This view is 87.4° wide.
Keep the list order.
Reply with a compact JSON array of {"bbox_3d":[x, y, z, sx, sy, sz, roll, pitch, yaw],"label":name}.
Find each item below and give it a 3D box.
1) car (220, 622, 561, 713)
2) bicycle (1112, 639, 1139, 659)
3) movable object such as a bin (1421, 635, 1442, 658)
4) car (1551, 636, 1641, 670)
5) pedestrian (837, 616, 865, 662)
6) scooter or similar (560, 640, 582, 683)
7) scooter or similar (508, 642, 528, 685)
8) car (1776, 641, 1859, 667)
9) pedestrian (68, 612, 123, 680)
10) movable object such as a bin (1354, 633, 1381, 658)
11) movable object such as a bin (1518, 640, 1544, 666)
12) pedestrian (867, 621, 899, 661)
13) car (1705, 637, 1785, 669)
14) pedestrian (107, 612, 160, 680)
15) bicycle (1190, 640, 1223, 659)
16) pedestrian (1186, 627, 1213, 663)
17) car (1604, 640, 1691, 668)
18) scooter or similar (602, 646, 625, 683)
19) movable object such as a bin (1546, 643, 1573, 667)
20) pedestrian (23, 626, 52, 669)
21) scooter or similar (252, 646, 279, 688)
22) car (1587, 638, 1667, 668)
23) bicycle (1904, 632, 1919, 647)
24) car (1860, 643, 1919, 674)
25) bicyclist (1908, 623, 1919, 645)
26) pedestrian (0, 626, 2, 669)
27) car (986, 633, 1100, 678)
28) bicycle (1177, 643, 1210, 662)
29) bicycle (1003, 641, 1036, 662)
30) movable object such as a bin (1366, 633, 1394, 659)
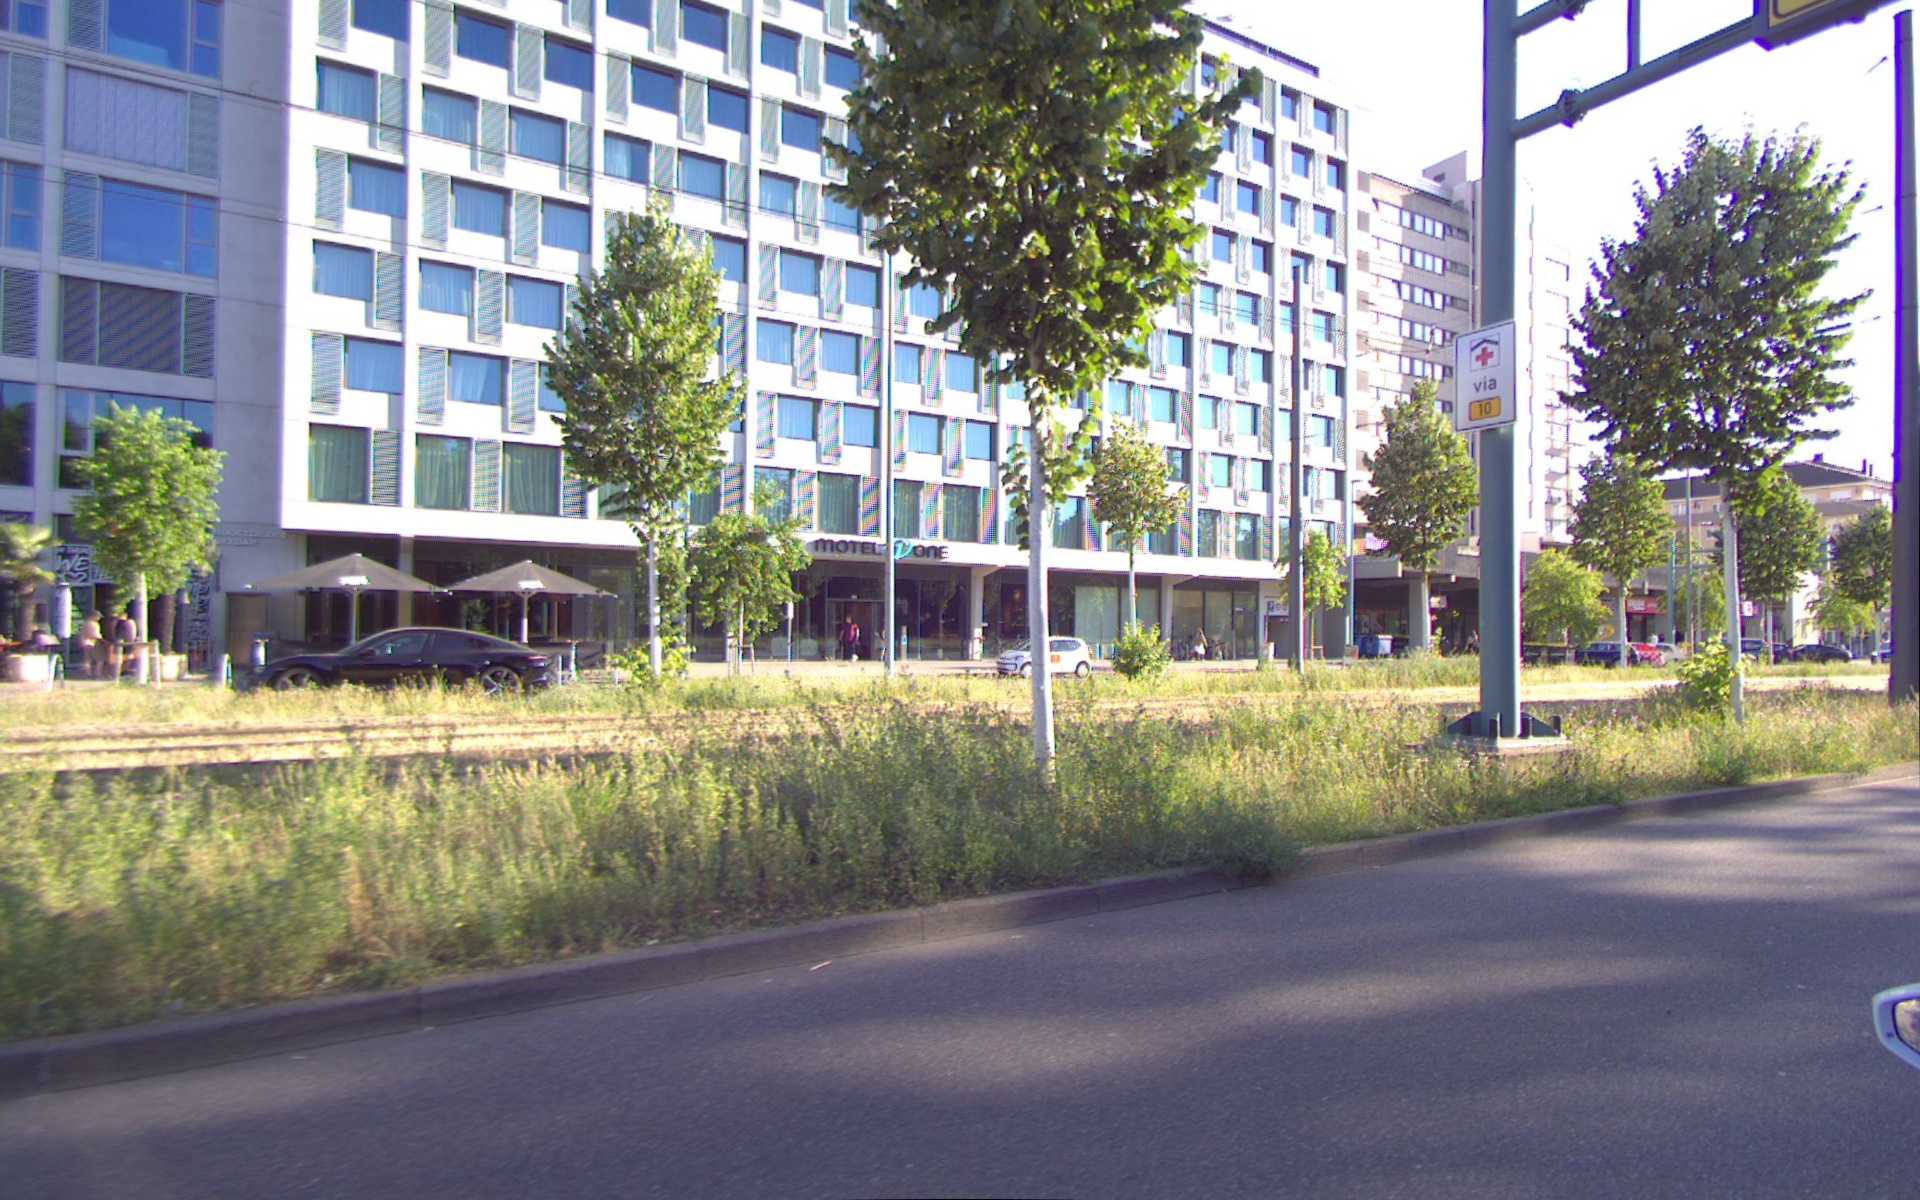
[{"bbox_3d":[-9.514,1.087,17.136,4.795,1.361,1.882,2,-2,-31],"label":"car"},{"bbox_3d":[7.917,2.331,48.119,0.504,0.917,1.802,1,-2,-19],"label":"bicycle"},{"bbox_3d":[28.222,2.789,60.106,0.858,1.389,0.818,1,-2,-30],"label":"movable object such as a bin"},{"bbox_3d":[36.244,2.999,57.340,4.015,1.622,1.750,2,1,20],"label":"car"},{"bbox_3d":[-4.572,1.624,42.317,0.959,1.895,0.973,0,-1,6],"label":"pedestrian"},{"bbox_3d":[-11.263,1.772,29.078,0.401,1.187,1.238,1,-2,-28],"label":"scooter or similar"},{"bbox_3d":[-12.504,1.783,28.413,0.401,1.187,1.238,1,-2,-28],"label":"scooter or similar"},{"bbox_3d":[59.960,3.770,70.336,3.920,1.584,2.000,1,0,19],"label":"car"},{"bbox_3d":[-22.628,1.191,26.313,0.791,1.744,0.868,1,-1,-20],"label":"pedestrian"},{"bbox_3d":[23.881,2.650,58.889,1.386,1.459,0.796,2,-2,-30],"label":"movable object such as a bin"},{"bbox_3d":[31.216,2.889,54.943,0.924,1.375,0.858,1,-2,-16],"label":"movable object such as a bin"},{"bbox_3d":[-3.254,1.726,42.597,1.045,1.692,0.972,1,-1,-28],"label":"pedestrian"},{"bbox_3d":[51.103,3.437,65.491,3.685,1.853,1.825,1,0,20],"label":"car"},{"bbox_3d":[-21.915,1.211,26.645,0.791,1.744,0.868,1,-1,-20],"label":"pedestrian"},{"bbox_3d":[12.493,2.507,51.001,0.506,0.917,1.794,2,-2,-32],"label":"bicycle"},{"bbox_3d":[11.579,2.169,48.537,0.958,1.675,0.840,1,-1,-28],"label":"pedestrian"},{"bbox_3d":[41.538,3.252,60.737,3.919,1.472,1.788,1,0,12],"label":"car"},{"bbox_3d":[-10.130,1.876,29.368,0.429,1.032,1.238,1,-2,-29],"label":"scooter or similar"},{"bbox_3d":[32.162,2.948,53.898,0.924,1.297,0.858,1,-2,-16],"label":"movable object such as a bin"},{"bbox_3d":[-26.673,1.371,29.041,0.491,1.238,0.429,1,-1,-30],"label":"pedestrian"},{"bbox_3d":[-17.611,1.686,25.474,0.401,1.019,1.238,1,-2,-28],"label":"scooter or similar"},{"bbox_3d":[39.213,3.111,59.118,3.554,1.543,1.621,2,0,20],"label":"car"},{"bbox_3d":[69.223,2.887,72.855,1.769,1.053,0.552,2,0,-30],"label":"bicycle"},{"bbox_3d":[56.017,3.489,59.957,5.026,1.711,1.878,2,-1,-29],"label":"car"},{"bbox_3d":[69.287,2.475,72.890,0.674,1.565,0.549,1,0,-29],"label":"bicyclist"},{"bbox_3d":[-27.610,1.344,28.506,0.491,1.238,0.429,1,-1,-30],"label":"pedestrian"},{"bbox_3d":[3.065,2.024,37.091,3.825,1.512,1.878,1,-1,-29],"label":"car"},{"bbox_3d":[11.757,2.654,50.708,0.506,0.917,1.794,2,-2,-32],"label":"bicycle"},{"bbox_3d":[2.694,2.328,45.624,0.507,0.917,1.792,2,-2,-35],"label":"bicycle"},{"bbox_3d":[24.303,2.653,58.130,1.386,1.459,0.796,2,-2,-30],"label":"movable object such as a bin"}]
